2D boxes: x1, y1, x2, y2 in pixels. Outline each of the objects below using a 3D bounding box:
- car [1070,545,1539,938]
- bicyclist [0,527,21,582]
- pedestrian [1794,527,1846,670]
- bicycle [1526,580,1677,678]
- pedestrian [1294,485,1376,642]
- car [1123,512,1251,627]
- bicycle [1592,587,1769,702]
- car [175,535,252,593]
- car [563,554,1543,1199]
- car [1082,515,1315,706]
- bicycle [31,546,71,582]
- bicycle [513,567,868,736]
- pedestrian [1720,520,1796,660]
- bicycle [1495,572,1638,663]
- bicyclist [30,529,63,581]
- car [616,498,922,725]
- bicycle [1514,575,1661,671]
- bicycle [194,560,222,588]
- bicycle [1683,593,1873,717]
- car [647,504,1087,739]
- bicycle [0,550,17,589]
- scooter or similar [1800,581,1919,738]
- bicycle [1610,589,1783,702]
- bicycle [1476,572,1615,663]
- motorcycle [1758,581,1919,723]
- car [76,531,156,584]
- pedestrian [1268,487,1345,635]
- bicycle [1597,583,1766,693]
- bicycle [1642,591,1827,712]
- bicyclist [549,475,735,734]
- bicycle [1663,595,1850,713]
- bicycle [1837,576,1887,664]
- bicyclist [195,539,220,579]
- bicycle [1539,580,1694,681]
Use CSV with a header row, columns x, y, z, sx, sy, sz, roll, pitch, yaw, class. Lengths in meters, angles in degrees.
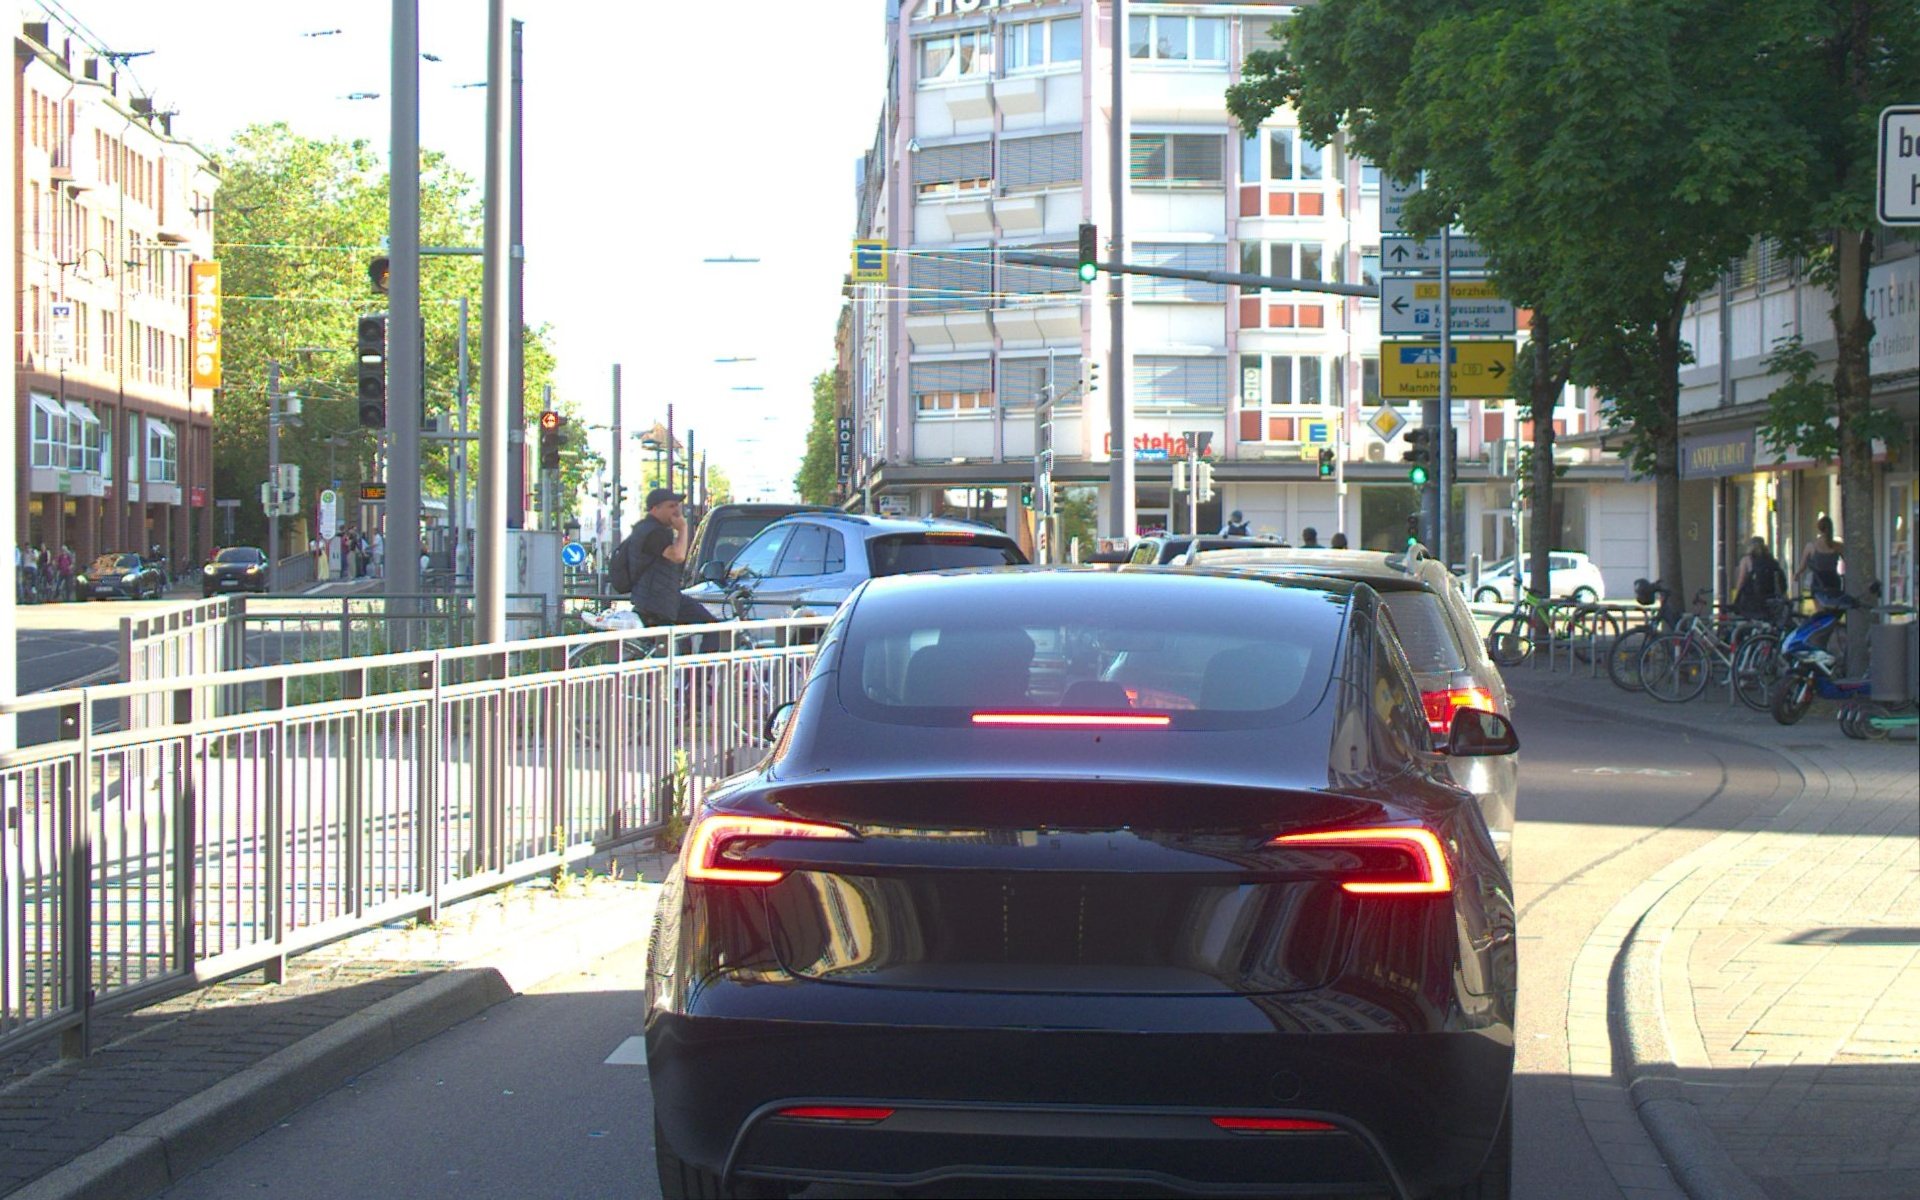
x,y,z,sx,sy,sz,roll,pitch,yaw,class
1.507,0.501,15.055,1.751,1.449,3.999,1,1,6,car
-27.222,-1.300,97.892,0.783,1.558,0.746,1,0,-5,bicyclist
10.373,-0.017,41.483,0.526,1.704,0.403,1,0,4,pedestrian
7.332,0.327,39.341,1.650,1.095,0.350,1,0,1,bicycle
4.864,-0.475,44.674,0.921,2.007,0.972,1,0,-1,pedestrian
3.569,-0.482,54.533,1.719,1.745,3.754,1,1,-1,car
7.002,0.431,33.413,1.649,1.095,0.350,1,0,-10,bicycle
-22.992,-1.107,105.960,1.697,1.725,3.707,1,1,-3,car
0.316,0.634,8.465,1.829,1.450,3.999,1,1,4,car
2.301,0.078,34.096,1.598,1.772,3.982,1,1,-6,car
-27.291,-1.090,103.247,0.529,1.085,2.284,0,1,2,bicycle
-1.733,0.324,22.422,2.329,1.050,0.631,0,1,-38,bicycle
9.591,-0.119,41.327,0.699,1.656,0.777,1,0,-1,pedestrian
7.301,0.209,41.399,1.650,1.095,0.350,0,1,1,bicycle
-27.278,-1.350,102.687,0.784,1.558,0.746,0,1,2,bicyclist
-1.883,0.076,32.622,1.993,2.007,4.001,0,1,-17,car
7.364,0.266,40.354,1.650,1.095,0.350,1,0,1,bicycle
-29.378,-1.029,134.308,0.529,1.085,2.224,1,1,1,bicycle
7.386,0.494,31.041,1.649,1.095,0.350,1,0,-10,bicycle
-0.816,0.130,26.497,1.883,1.656,4.159,1,1,-25,car
-27.213,-0.869,97.364,0.537,1.085,2.225,1,1,-4,bicycle
7.560,0.471,27.203,1.644,1.211,0.644,1,0,30,scooter or similar
7.307,0.452,34.108,1.649,1.095,0.350,1,0,-10,bicycle
7.234,0.218,42.493,1.650,1.095,0.350,1,0,1,bicycle
7.717,0.442,29.233,1.707,1.169,0.541,1,0,-2,motorcycle
-25.153,-1.268,102.606,1.710,1.521,4.037,1,1,-5,car
4.761,-0.536,47.325,0.921,2.007,0.972,1,0,-1,pedestrian
7.420,0.387,35.362,1.650,1.095,0.350,1,0,1,bicycle
7.184,0.474,31.886,1.649,1.095,0.350,1,0,-10,bicycle
-2.052,0.020,22.156,0.758,1.623,0.978,0,1,-39,bicyclist
7.289,0.491,31.463,1.649,1.057,0.350,1,0,-10,bicycle
10.779,0.230,41.118,0.332,1.030,1.256,1,0,4,bicycle
-29.382,-1.608,134.225,0.784,1.558,0.746,1,0,2,bicyclist
7.312,0.340,38.314,1.650,1.095,0.350,1,0,1,bicycle
